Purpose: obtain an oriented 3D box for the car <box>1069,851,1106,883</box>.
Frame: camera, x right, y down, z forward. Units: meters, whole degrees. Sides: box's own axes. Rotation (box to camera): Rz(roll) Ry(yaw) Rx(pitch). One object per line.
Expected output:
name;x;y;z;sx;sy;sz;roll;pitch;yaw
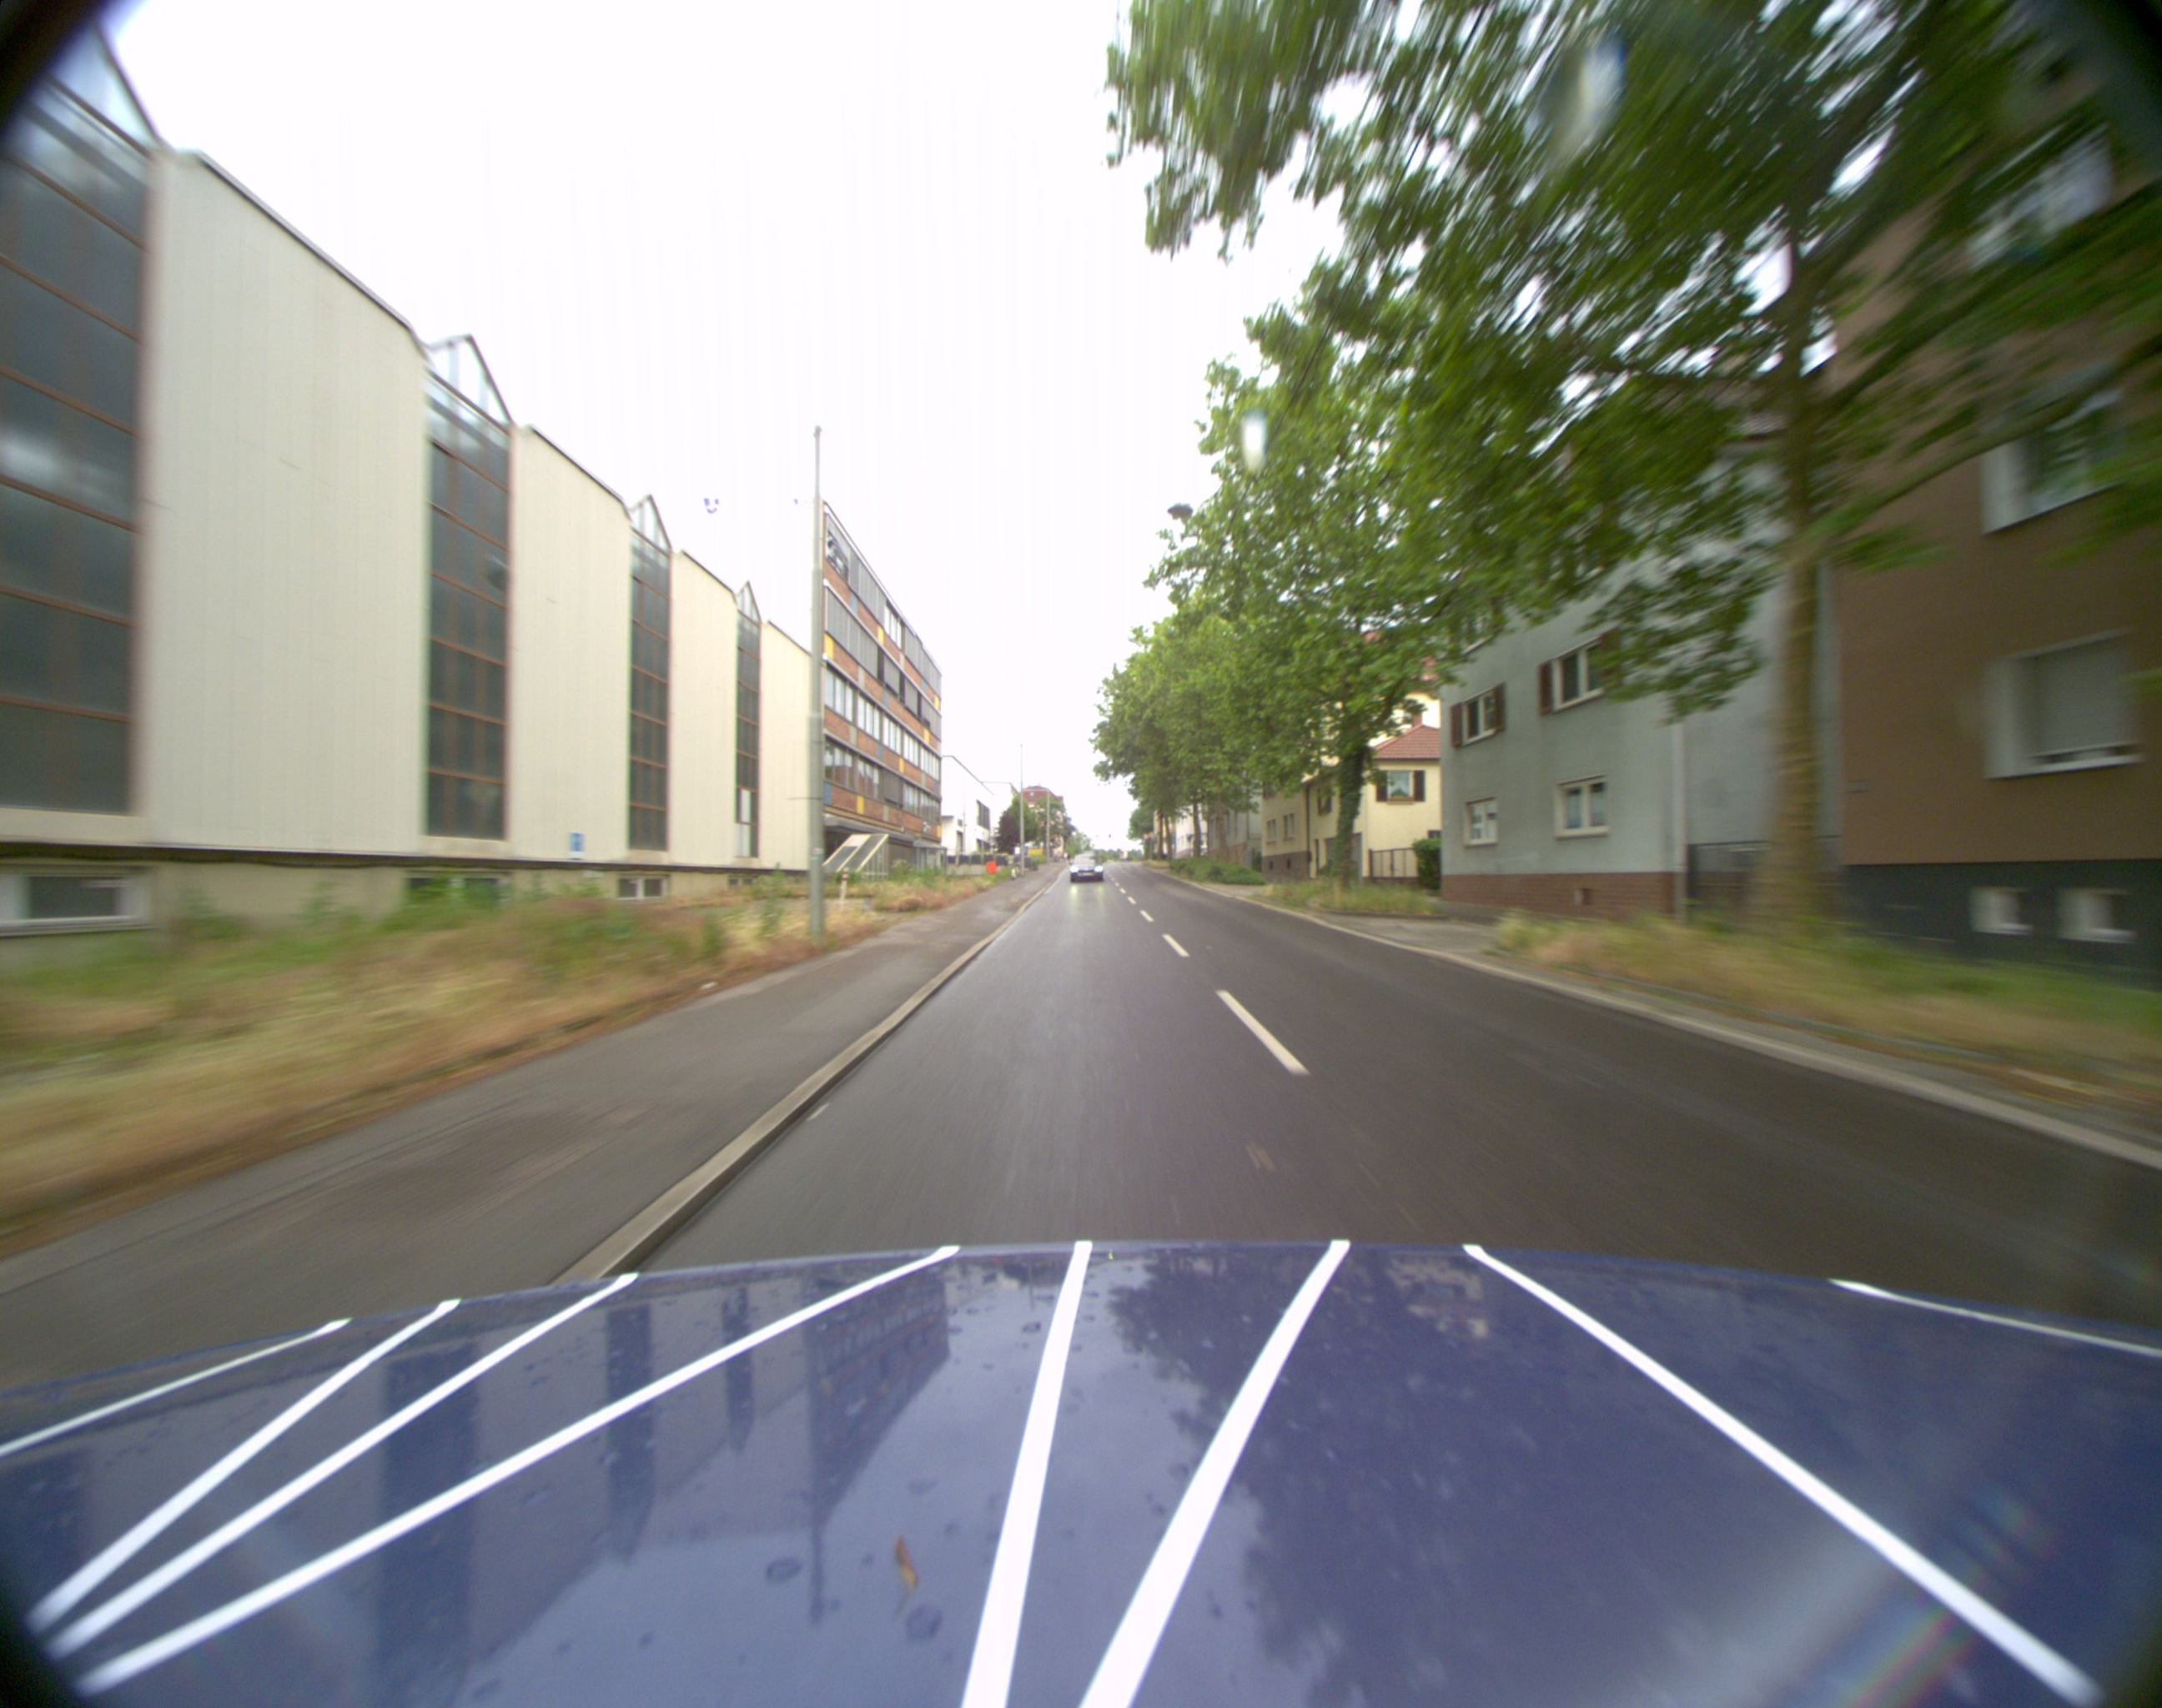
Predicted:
car;0.349;0.705;42.318;1.949;1.644;3.858;-1;1;-1
